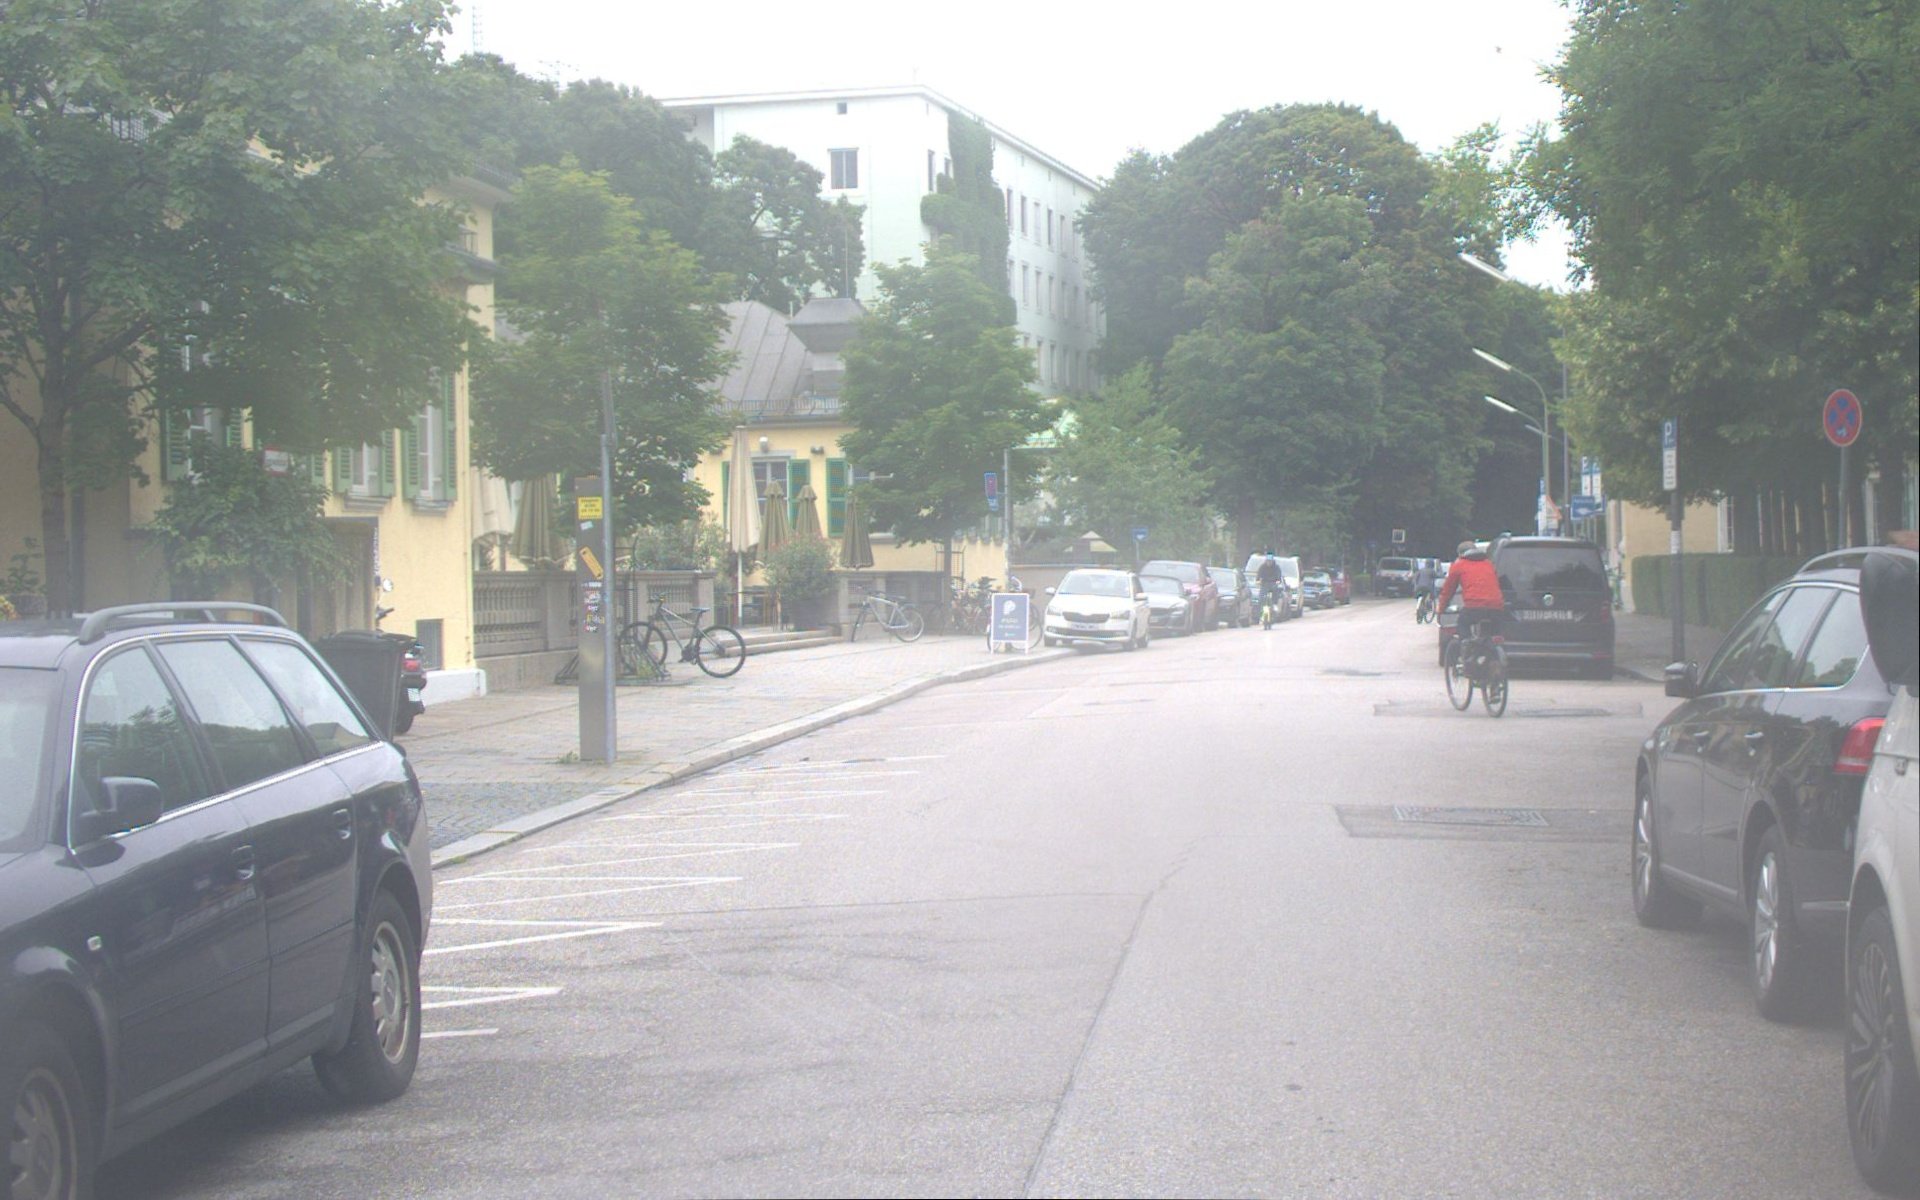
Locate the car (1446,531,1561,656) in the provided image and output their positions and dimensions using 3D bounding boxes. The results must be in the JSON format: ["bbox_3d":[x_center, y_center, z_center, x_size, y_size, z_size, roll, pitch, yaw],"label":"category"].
[{"bbox_3d":[8.838,-0.132,55.886,1.750,1.936,4.226,-1,1,9],"label":"car"}]

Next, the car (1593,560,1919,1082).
[{"bbox_3d":[3.521,0.630,12.355,1.771,1.485,4.973,2,1,3],"label":"car"}]

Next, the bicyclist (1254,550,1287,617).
[{"bbox_3d":[7.326,-0.399,81.092,0.743,1.570,0.977,-1,1,5],"label":"bicyclist"}]

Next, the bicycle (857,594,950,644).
[{"bbox_3d":[-1.060,0.355,64.622,1.613,0.922,0.651,-1,-1,-19],"label":"bicycle"}]

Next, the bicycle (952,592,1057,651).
[{"bbox_3d":[0.783,0.373,60.132,0.623,1.001,2.135,3,2,39],"label":"bicycle"}]

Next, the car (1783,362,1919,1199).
[{"bbox_3d":[2.935,0.479,6.401,1.845,1.926,5.272,2,1,4],"label":"car"}]

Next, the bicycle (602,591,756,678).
[{"bbox_3d":[-3.725,0.450,45.635,1.931,1.095,0.614,1,1,9],"label":"bicycle"}]

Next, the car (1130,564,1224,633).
[{"bbox_3d":[5.189,-0.033,81.883,1.994,1.597,3.999,0,0,7],"label":"car"}]

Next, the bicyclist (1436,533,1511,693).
[{"bbox_3d":[4.911,0.133,32.879,0.672,1.492,1.094,-1,-1,8],"label":"bicyclist"}]

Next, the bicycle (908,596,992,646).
[{"bbox_3d":[-0.208,0.426,71.017,1.613,1.001,0.623,0,-1,-29],"label":"bicycle"}]

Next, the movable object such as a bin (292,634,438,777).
[{"bbox_3d":[-4.615,0.810,26.710,0.935,1.060,0.840,-1,1,3],"label":"movable object such as a bin"}]

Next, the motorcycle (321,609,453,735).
[{"bbox_3d":[-5.302,0.653,31.744,0.557,1.097,1.838,0,1,-31],"label":"motorcycle"}]

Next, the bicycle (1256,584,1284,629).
[{"bbox_3d":[7.301,0.144,81.023,0.621,1.001,2.140,-1,1,5],"label":"bicycle"}]

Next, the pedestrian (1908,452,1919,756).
[{"bbox_3d":[7.057,0.025,23.743,0.742,2.127,1.055,-1,0,5],"label":"pedestrian"}]

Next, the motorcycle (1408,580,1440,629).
[{"bbox_3d":[11.697,0.100,86.684,0.660,1.202,2.241,-1,1,11],"label":"motorcycle"}]

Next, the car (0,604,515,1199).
[{"bbox_3d":[-2.726,0.819,8.804,1.994,1.486,4.882,-2,0,6],"label":"car"}]

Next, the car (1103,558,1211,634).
[{"bbox_3d":[4.442,-0.110,76.937,1.994,1.643,4.654,-1,1,8],"label":"car"}]

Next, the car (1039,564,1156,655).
[{"bbox_3d":[2.613,0.151,64.475,1.734,1.576,3.786,2,1,8],"label":"car"}]

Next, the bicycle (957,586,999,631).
[{"bbox_3d":[0.404,0.195,76.493,0.622,1.001,1.618,0,-1,11],"label":"bicycle"}]

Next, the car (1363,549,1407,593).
[{"bbox_3d":[20.747,-1.429,167.696,1.994,2.091,3.999,2,1,8],"label":"car"}]

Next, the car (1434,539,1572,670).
[{"bbox_3d":[7.825,0.027,49.755,1.863,1.788,4.508,-1,1,8],"label":"car"}]

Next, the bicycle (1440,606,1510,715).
[{"bbox_3d":[4.929,0.576,32.954,0.622,1.001,2.139,-1,-1,8],"label":"bicycle"}]

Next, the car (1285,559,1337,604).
[{"bbox_3d":[13.339,-0.714,130.565,1.811,1.677,3.999,-1,1,8],"label":"car"}]

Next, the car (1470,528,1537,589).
[{"bbox_3d":[18.640,-1.414,118.053,1.994,2.053,4.623,0,1,6],"label":"car"}]

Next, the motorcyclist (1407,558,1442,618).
[{"bbox_3d":[11.719,-0.294,86.731,0.792,1.505,1.148,-1,0,11],"label":"motorcyclist"}]

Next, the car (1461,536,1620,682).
[{"bbox_3d":[7.535,0.080,44.936,1.761,1.817,4.138,0,1,6],"label":"car"}]
